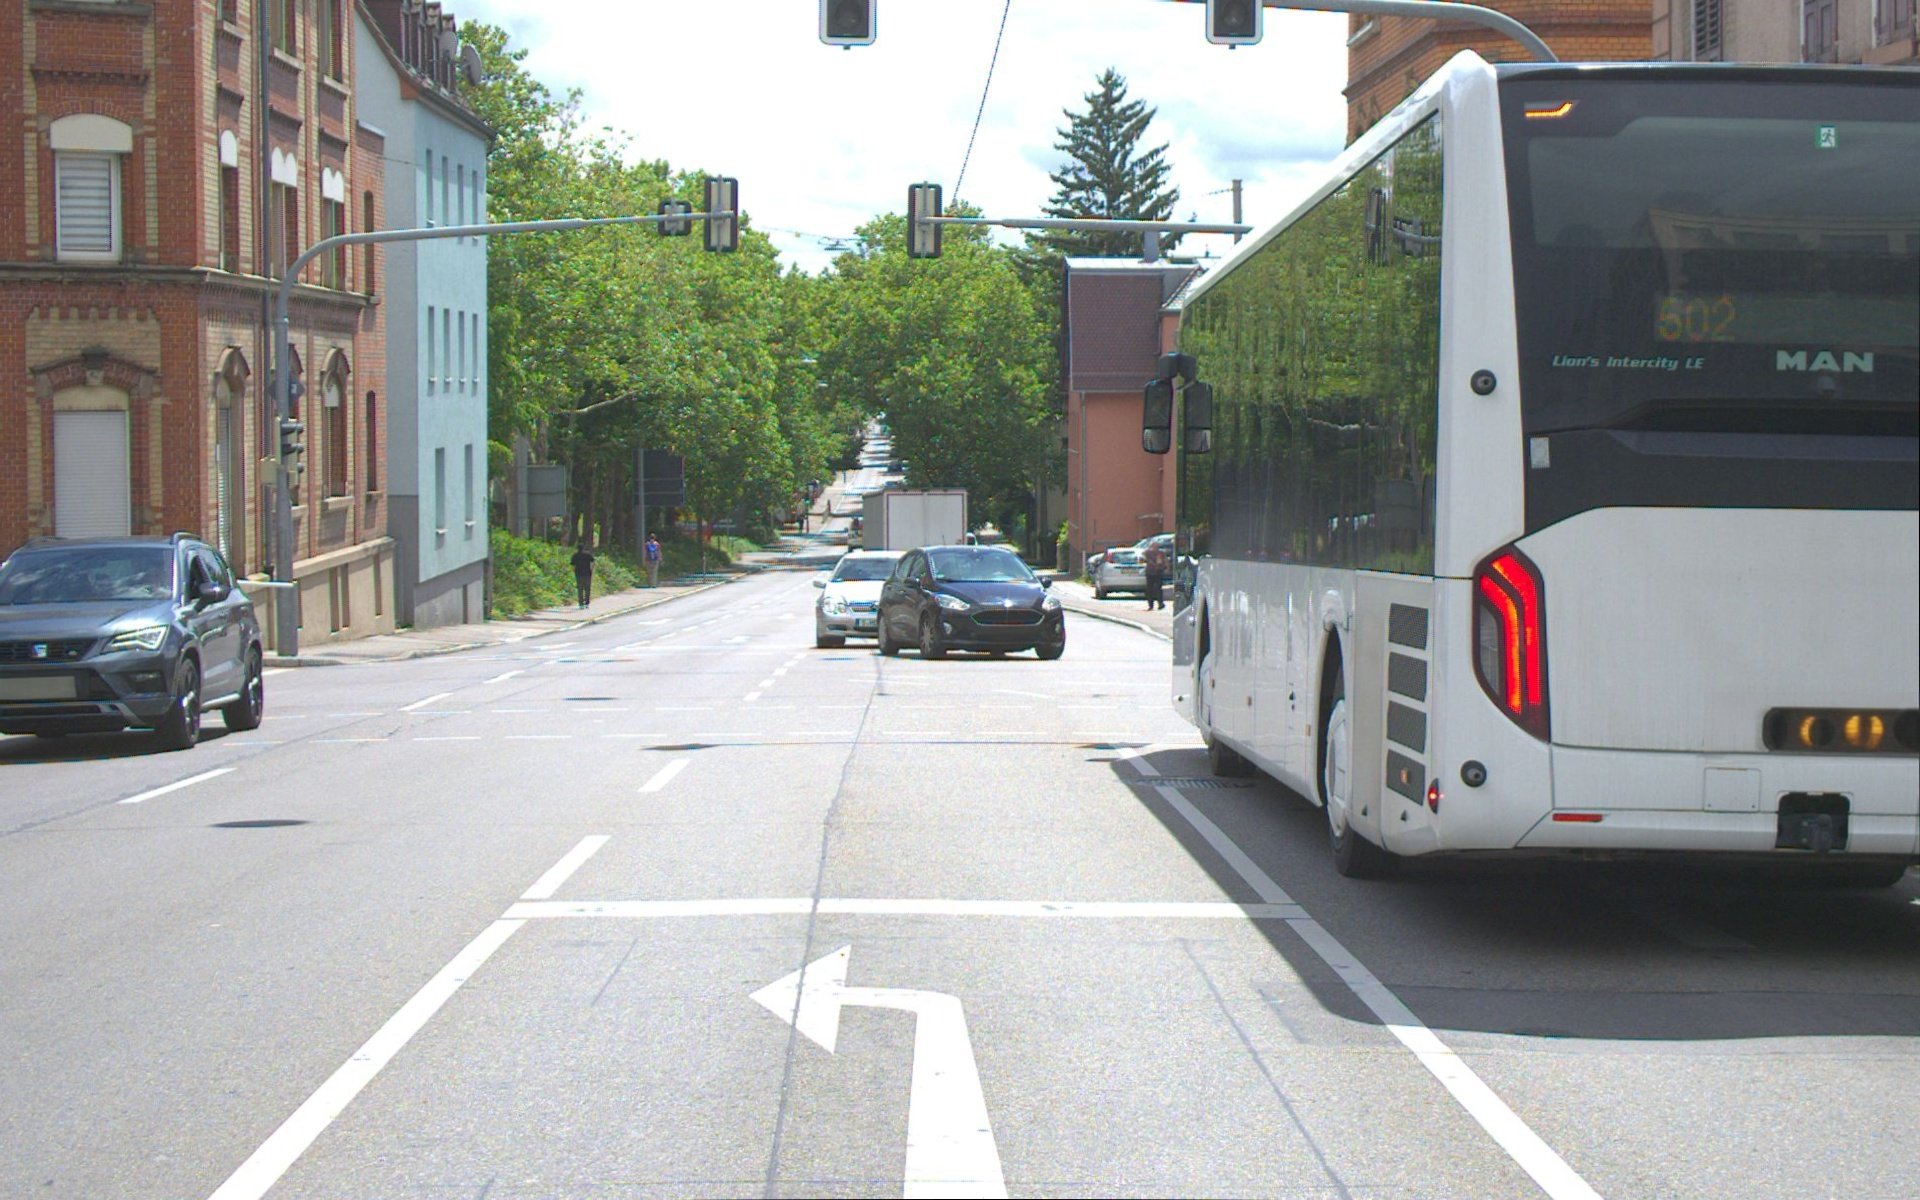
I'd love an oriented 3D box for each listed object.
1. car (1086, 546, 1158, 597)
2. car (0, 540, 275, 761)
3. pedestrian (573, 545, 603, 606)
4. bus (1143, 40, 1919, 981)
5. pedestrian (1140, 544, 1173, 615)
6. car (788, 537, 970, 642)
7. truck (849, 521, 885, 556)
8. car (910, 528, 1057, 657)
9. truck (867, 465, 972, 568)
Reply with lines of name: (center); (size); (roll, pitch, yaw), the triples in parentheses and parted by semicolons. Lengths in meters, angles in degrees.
car: (4.768, -0.864, 101.667); (1.794, 1.405, 4.001); (-1, 2, -2)
car: (-6.474, 0.324, 26.130); (1.758, 1.516, 3.958); (-1, 1, -1)
pedestrian: (-9.655, -0.633, 89.267); (0.729, 1.560, 0.561); (0, 1, -1)
bus: (2.703, -0.450, 17.832); (2.672, 3.145, 12.463); (-1, 1, -1)
pedestrian: (4.899, -0.521, 85.817); (0.738, 1.744, 0.619); (-1, 1, -1)
car: (-1.139, -0.184, 50.152); (1.699, 1.422, 3.998); (-1, 1, 13)
truck: (-5.352, -3.530, 197.676); (1.993, 2.007, 4.000); (1, 1, -1)
car: (0.258, -0.131, 43.688); (1.758, 1.511, 3.794); (-1, 2, -1)
truck: (-1.330, -2.612, 108.064); (2.926, 3.070, 7.887); (-1, 1, -3)
